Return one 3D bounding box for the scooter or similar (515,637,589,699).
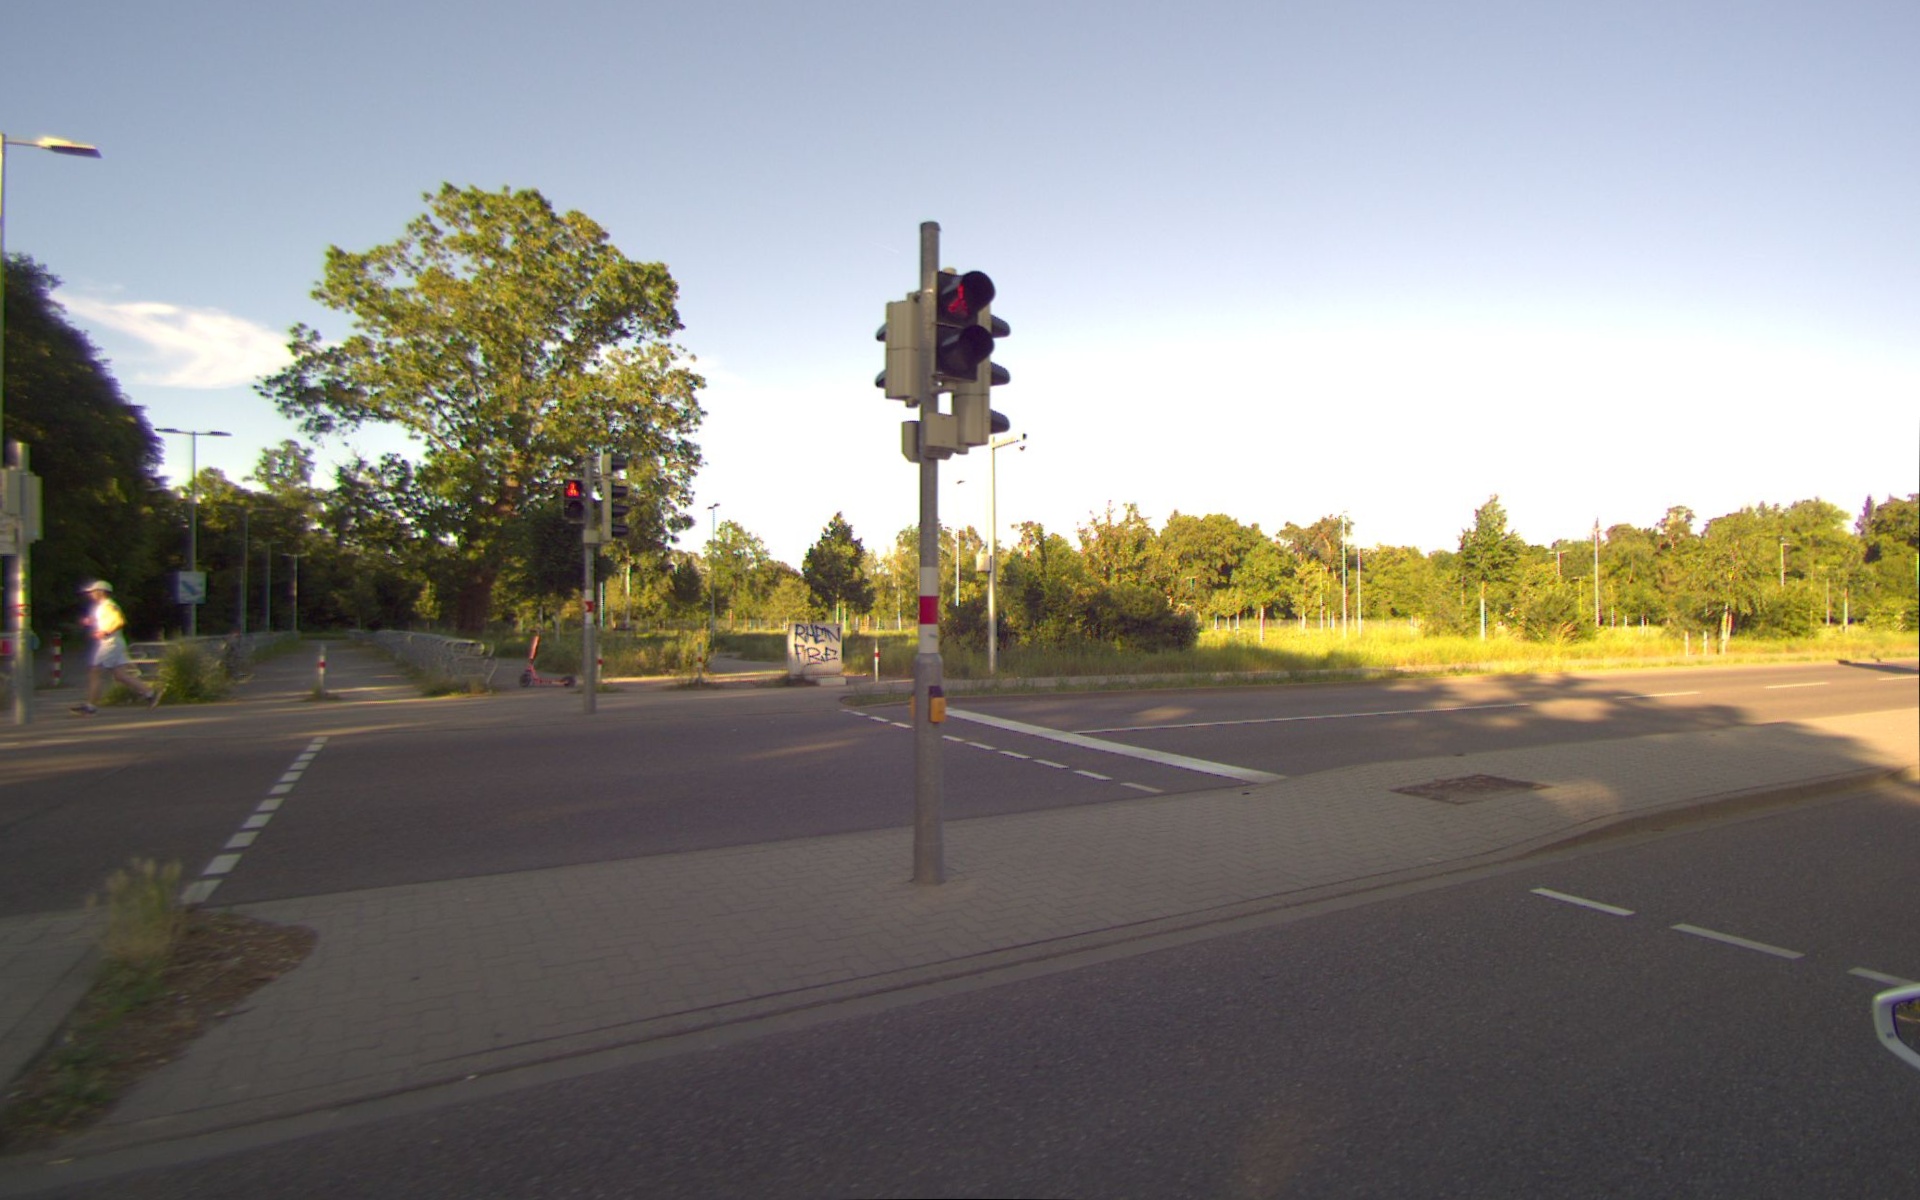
[{"bbox_3d":[-8.351,1.382,20.597,1.337,1.240,0.511,0,-2,-17],"label":"scooter or similar"}]

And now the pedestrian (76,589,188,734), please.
[{"bbox_3d":[-11.525,0.837,14.016,1.093,1.934,0.609,0,-2,-30],"label":"pedestrian"}]
